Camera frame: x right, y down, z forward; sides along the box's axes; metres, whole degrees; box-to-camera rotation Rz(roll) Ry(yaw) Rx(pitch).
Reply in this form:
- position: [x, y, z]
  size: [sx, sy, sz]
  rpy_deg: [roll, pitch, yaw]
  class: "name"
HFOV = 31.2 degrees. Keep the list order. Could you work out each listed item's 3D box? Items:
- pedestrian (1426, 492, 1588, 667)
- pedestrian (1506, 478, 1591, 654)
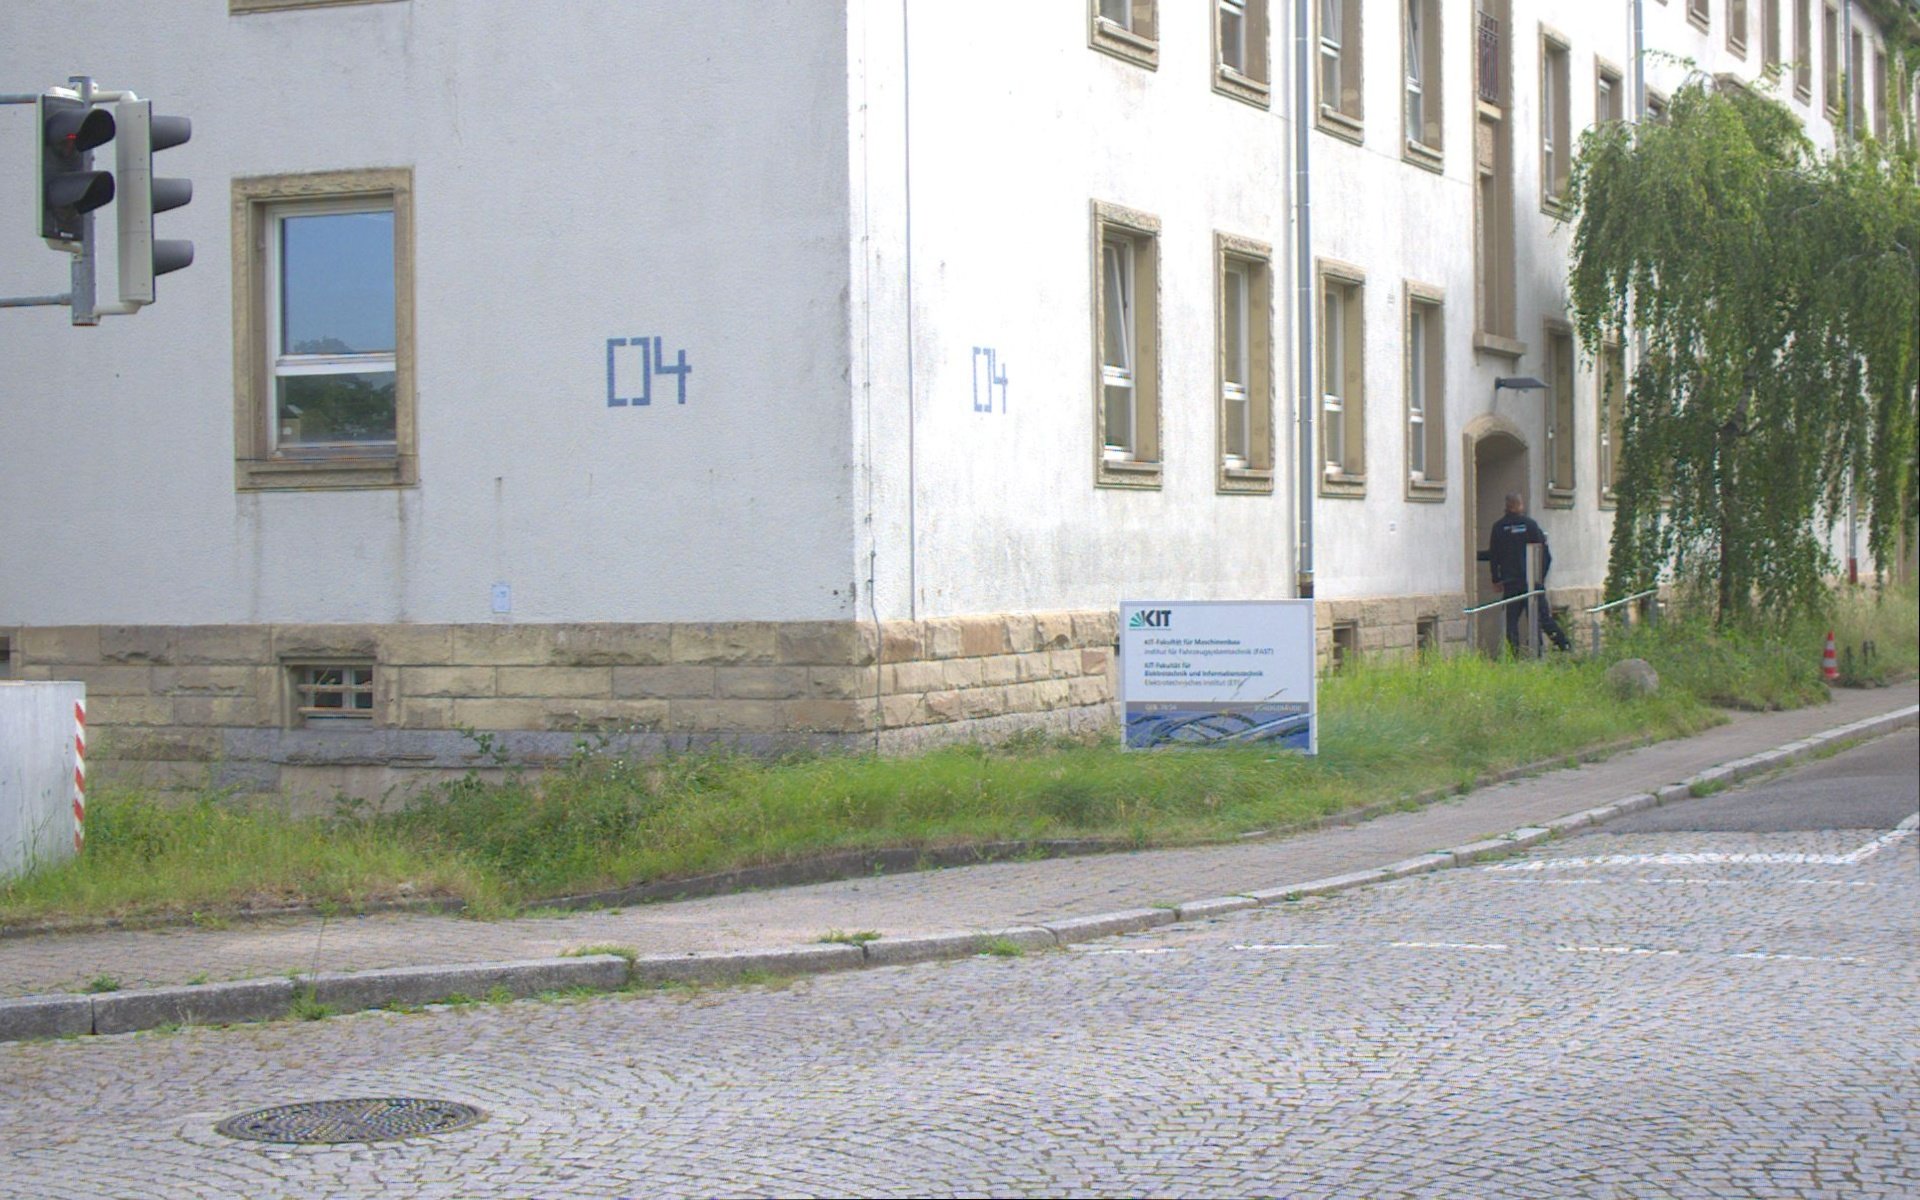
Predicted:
- position: [5.998, -0.231, 37.778]
  size: [1.545, 1.863, 1.198]
  rpy_deg: [1, 1, -1]
  class: "pedestrian"
- position: [6.594, -0.386, 38.495]
  size: [0.865, 1.925, 0.837]
  rpy_deg: [2, 1, 12]
  class: "pedestrian"
